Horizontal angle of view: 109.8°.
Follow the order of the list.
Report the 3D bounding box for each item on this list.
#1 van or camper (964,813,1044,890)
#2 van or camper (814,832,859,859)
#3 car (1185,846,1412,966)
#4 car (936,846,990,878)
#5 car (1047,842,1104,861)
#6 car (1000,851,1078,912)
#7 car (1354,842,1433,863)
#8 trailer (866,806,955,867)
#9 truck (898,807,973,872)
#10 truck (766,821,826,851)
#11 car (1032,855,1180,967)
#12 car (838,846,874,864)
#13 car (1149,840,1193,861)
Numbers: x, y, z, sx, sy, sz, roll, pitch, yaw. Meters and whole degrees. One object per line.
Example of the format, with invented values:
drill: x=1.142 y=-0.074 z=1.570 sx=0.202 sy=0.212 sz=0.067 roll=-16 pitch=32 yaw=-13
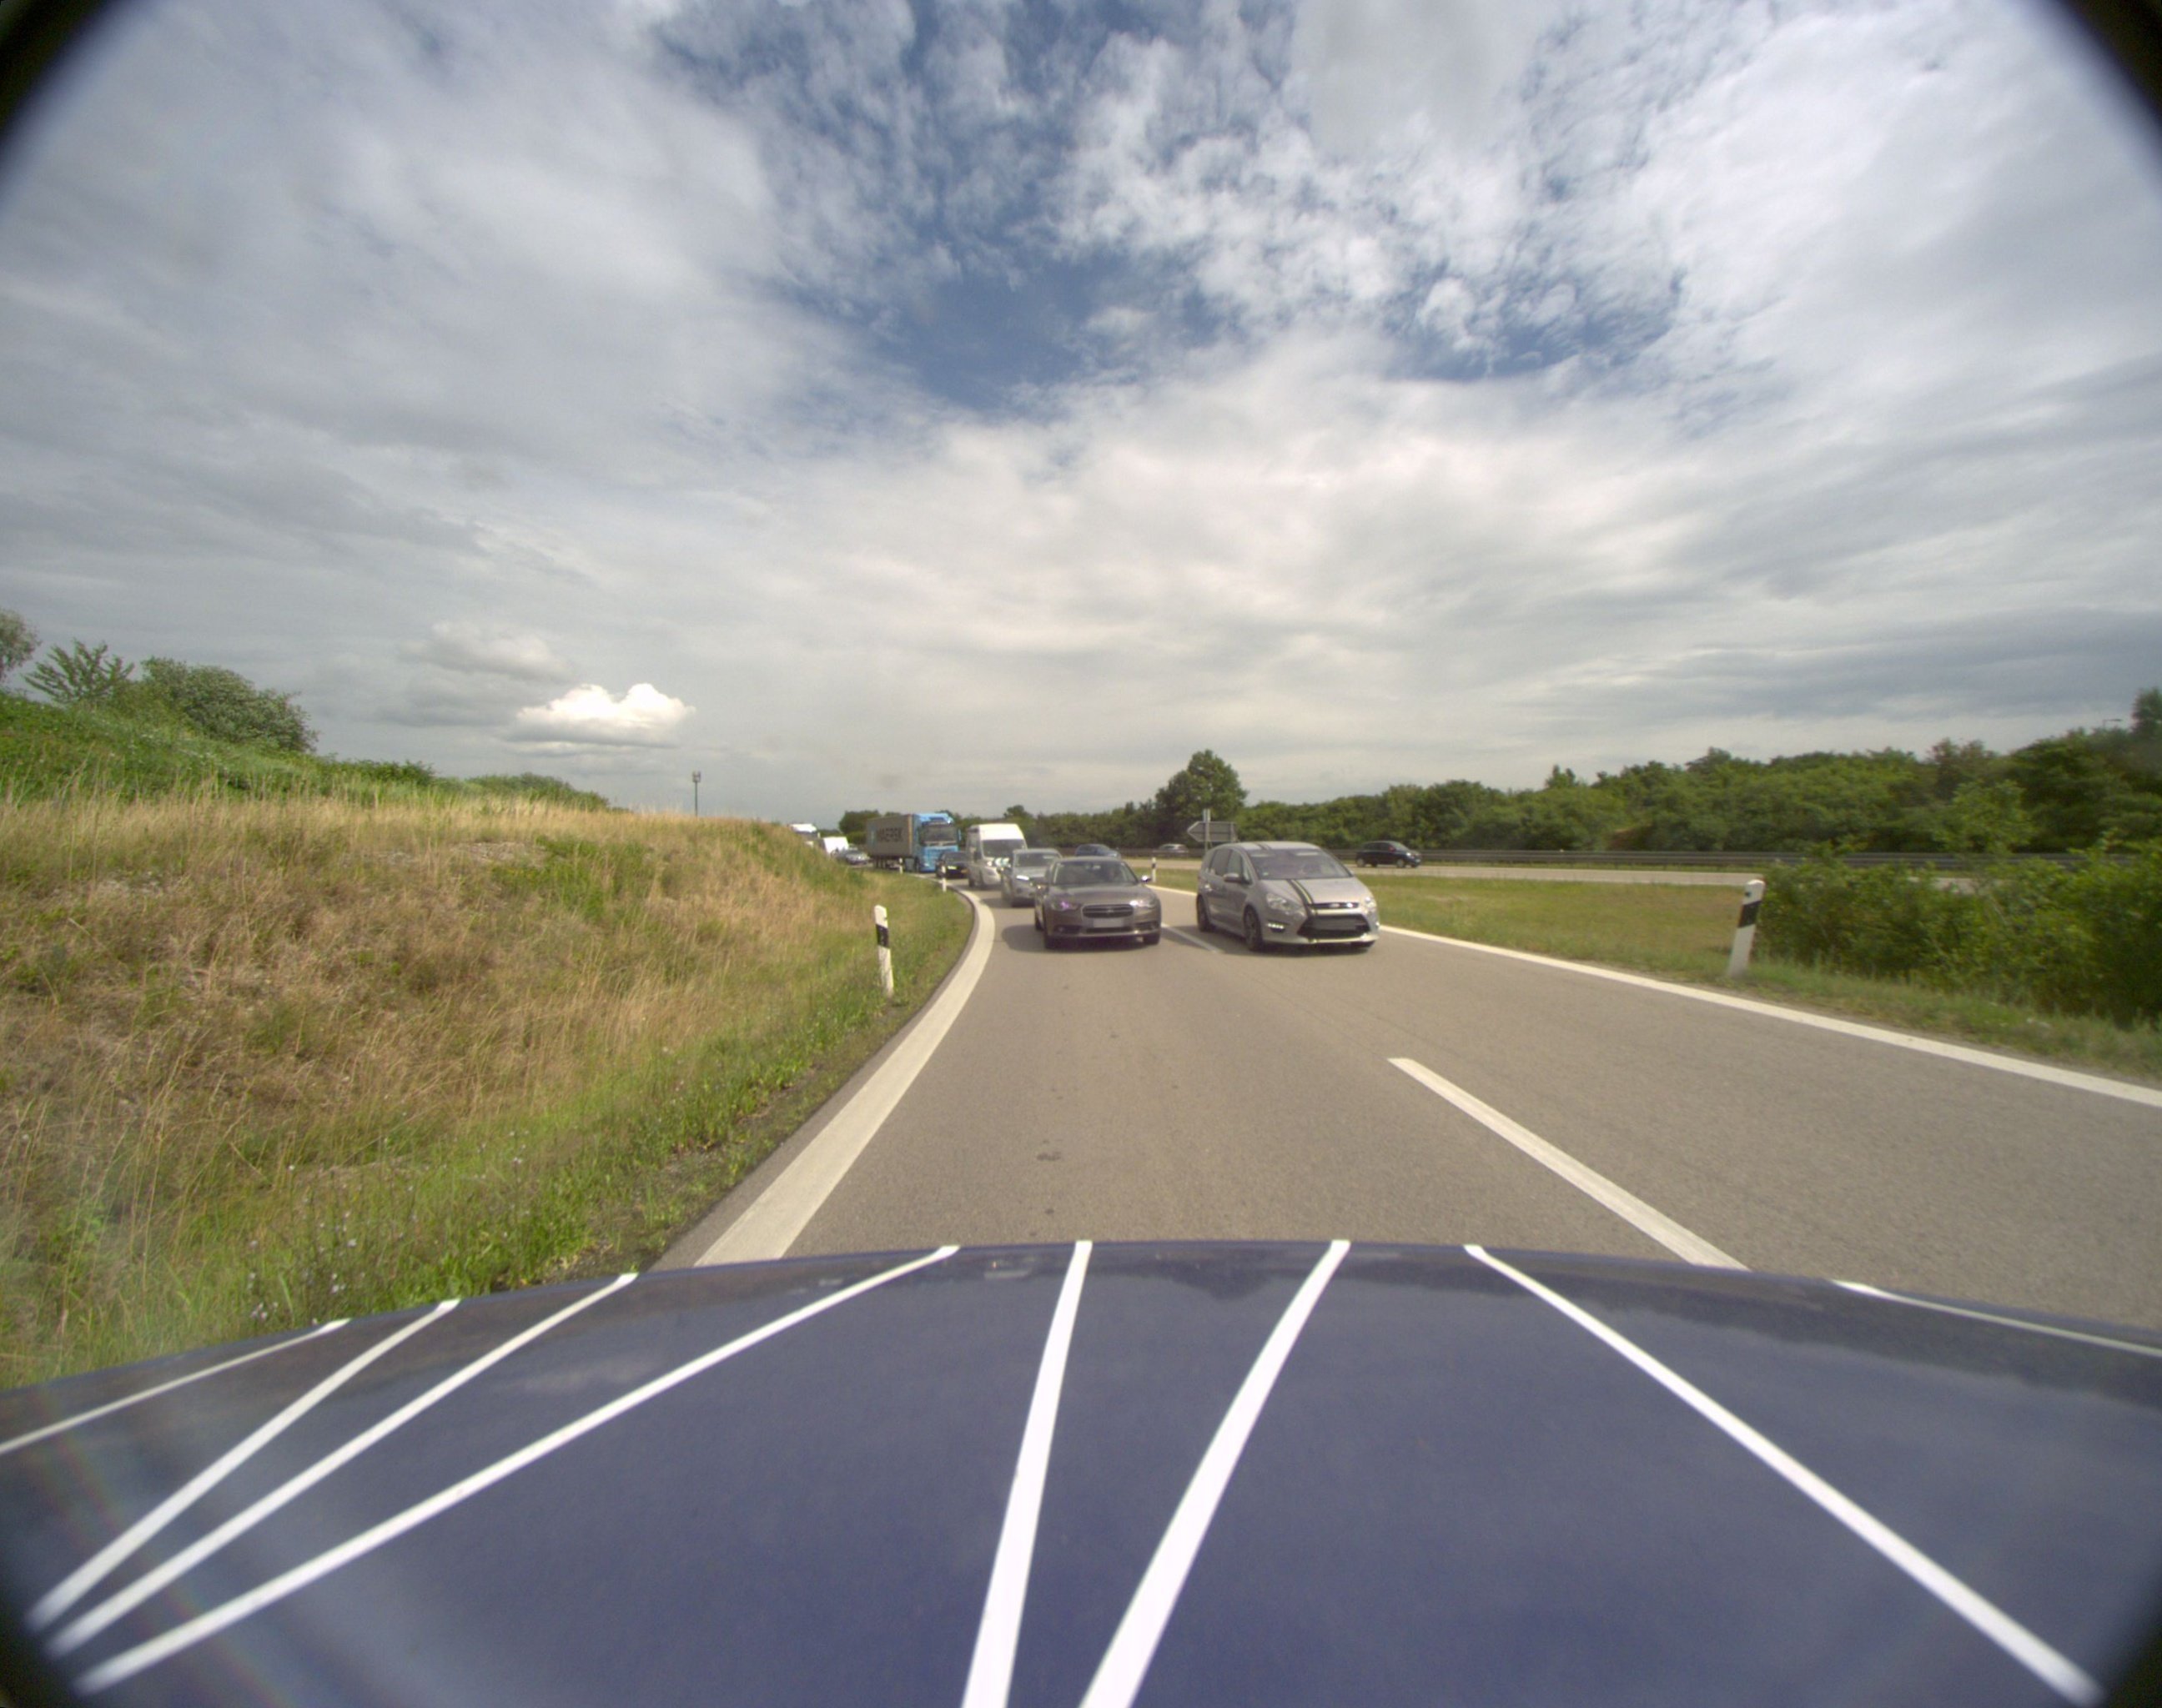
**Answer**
van or camper: x=-3.400 y=-0.127 z=32.129 sx=2.400 sy=2.892 sz=5.712 roll=-3 pitch=1 yaw=-15
van or camper: x=-23.876 y=-0.884 z=74.029 sx=2.558 sy=2.200 sz=5.692 roll=-3 pitch=5 yaw=-35
car: x=3.258 y=0.667 z=12.498 sx=2.027 sy=1.568 sz=4.583 roll=0 pitch=1 yaw=-6
car: x=-6.531 y=0.371 z=41.813 sx=2.002 sy=1.609 sz=3.991 roll=-1 pitch=2 yaw=-23
car: x=-0.485 y=-0.220 z=60.587 sx=2.004 sy=1.415 sz=4.573 roll=-1 pitch=2 yaw=-41
car: x=-1.347 y=0.725 z=22.650 sx=1.844 sy=1.587 sz=4.169 roll=-1 pitch=1 yaw=-10
car: x=18.027 y=-0.105 z=43.924 sx=2.004 sy=1.164 sz=3.680 roll=-1 pitch=1 yaw=-38
trailer: x=-13.237 y=-1.192 z=57.834 sx=3.280 sy=4.137 sz=11.989 roll=-3 pitch=1 yaw=-29
truck: x=-10.046 y=-0.966 z=51.758 sx=3.184 sy=4.050 sz=6.632 roll=-3 pitch=1 yaw=-26
truck: x=-32.837 y=-2.046 z=87.117 sx=3.131 sy=3.220 sz=11.129 roll=-2 pitch=2 yaw=-38
car: x=0.232 y=0.819 z=13.256 sx=1.999 sy=1.506 sz=4.536 roll=-2 pitch=1 yaw=-5
car: x=-20.418 y=0.069 z=68.935 sx=2.003 sy=1.521 sz=3.989 roll=-2 pitch=3 yaw=-33
car: x=8.813 y=-0.333 z=74.698 sx=1.847 sy=1.862 sz=4.195 roll=-3 pitch=1 yaw=-38
